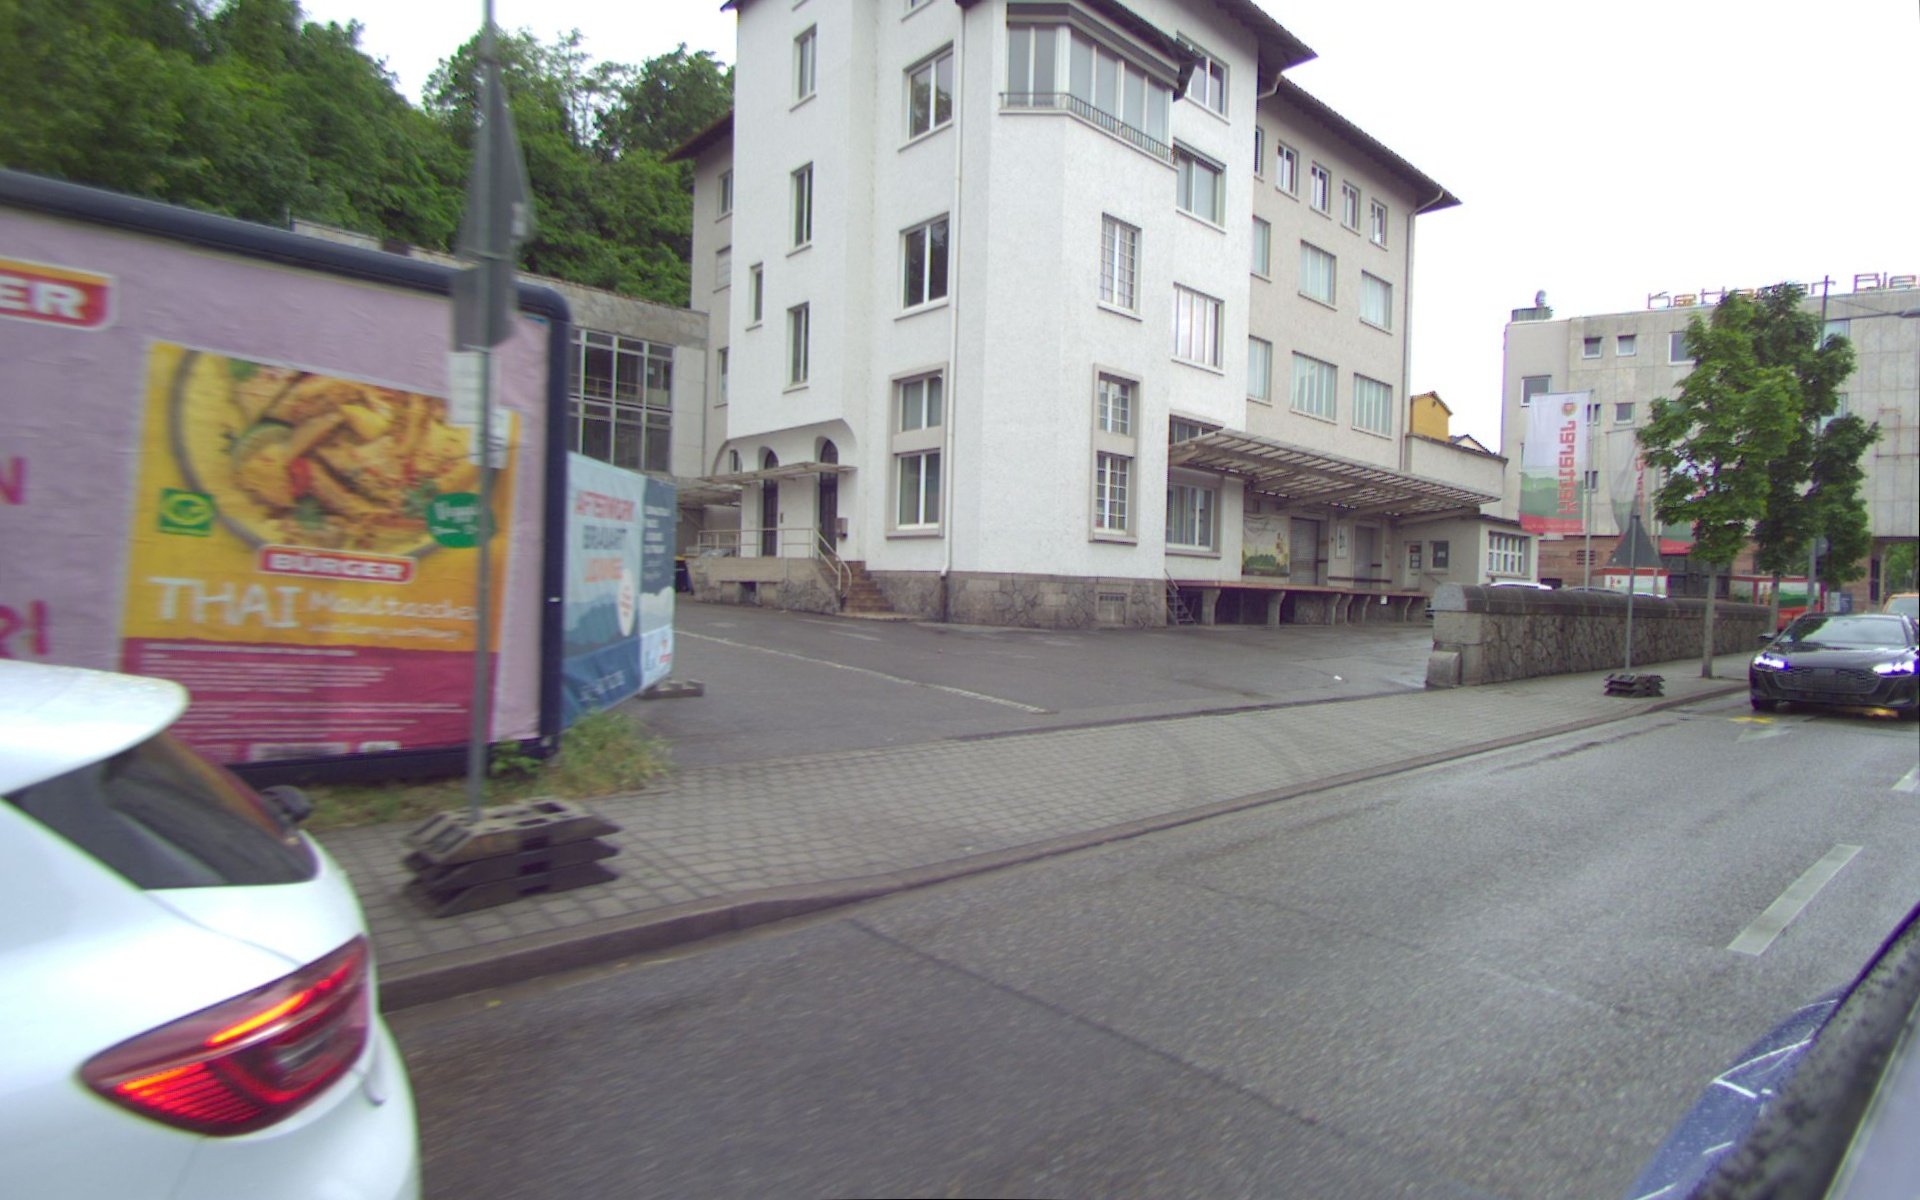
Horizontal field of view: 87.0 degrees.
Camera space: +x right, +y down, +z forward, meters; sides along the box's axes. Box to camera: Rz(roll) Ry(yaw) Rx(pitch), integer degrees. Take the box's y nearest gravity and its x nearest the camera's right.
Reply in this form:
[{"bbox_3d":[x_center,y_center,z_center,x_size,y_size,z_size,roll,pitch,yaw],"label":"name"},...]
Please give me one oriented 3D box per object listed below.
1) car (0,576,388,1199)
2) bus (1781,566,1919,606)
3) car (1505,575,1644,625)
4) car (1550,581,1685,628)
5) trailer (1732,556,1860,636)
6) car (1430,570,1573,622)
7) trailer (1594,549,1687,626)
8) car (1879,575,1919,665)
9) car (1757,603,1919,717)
[{"bbox_3d":[-2.655,0.666,0.548,3.799,1.413,1.668,2,2,-41],"label":"car"},{"bbox_3d":[83.525,-1.380,95.224,2.648,3.256,9.684,3,2,-17],"label":"bus"},{"bbox_3d":[22.644,-0.023,37.445,3.941,1.602,1.764,3,1,14],"label":"car"},{"bbox_3d":[27.232,0.173,42.048,4.214,1.669,1.860,4,1,14],"label":"car"},{"bbox_3d":[36.574,-0.245,44.520,2.607,3.215,5.674,3,2,22],"label":"trailer"},{"bbox_3d":[18.913,-0.125,35.512,3.916,1.588,1.921,3,-2,9],"label":"car"},{"bbox_3d":[31.574,-0.598,47.185,2.723,3.348,6.017,2,1,26],"label":"trailer"},{"bbox_3d":[24.780,0.504,25.351,5.446,2.115,2.104,1,0,-42],"label":"car"},{"bbox_3d":[13.478,0.784,15.043,4.553,1.420,1.792,1,1,-42],"label":"car"}]
